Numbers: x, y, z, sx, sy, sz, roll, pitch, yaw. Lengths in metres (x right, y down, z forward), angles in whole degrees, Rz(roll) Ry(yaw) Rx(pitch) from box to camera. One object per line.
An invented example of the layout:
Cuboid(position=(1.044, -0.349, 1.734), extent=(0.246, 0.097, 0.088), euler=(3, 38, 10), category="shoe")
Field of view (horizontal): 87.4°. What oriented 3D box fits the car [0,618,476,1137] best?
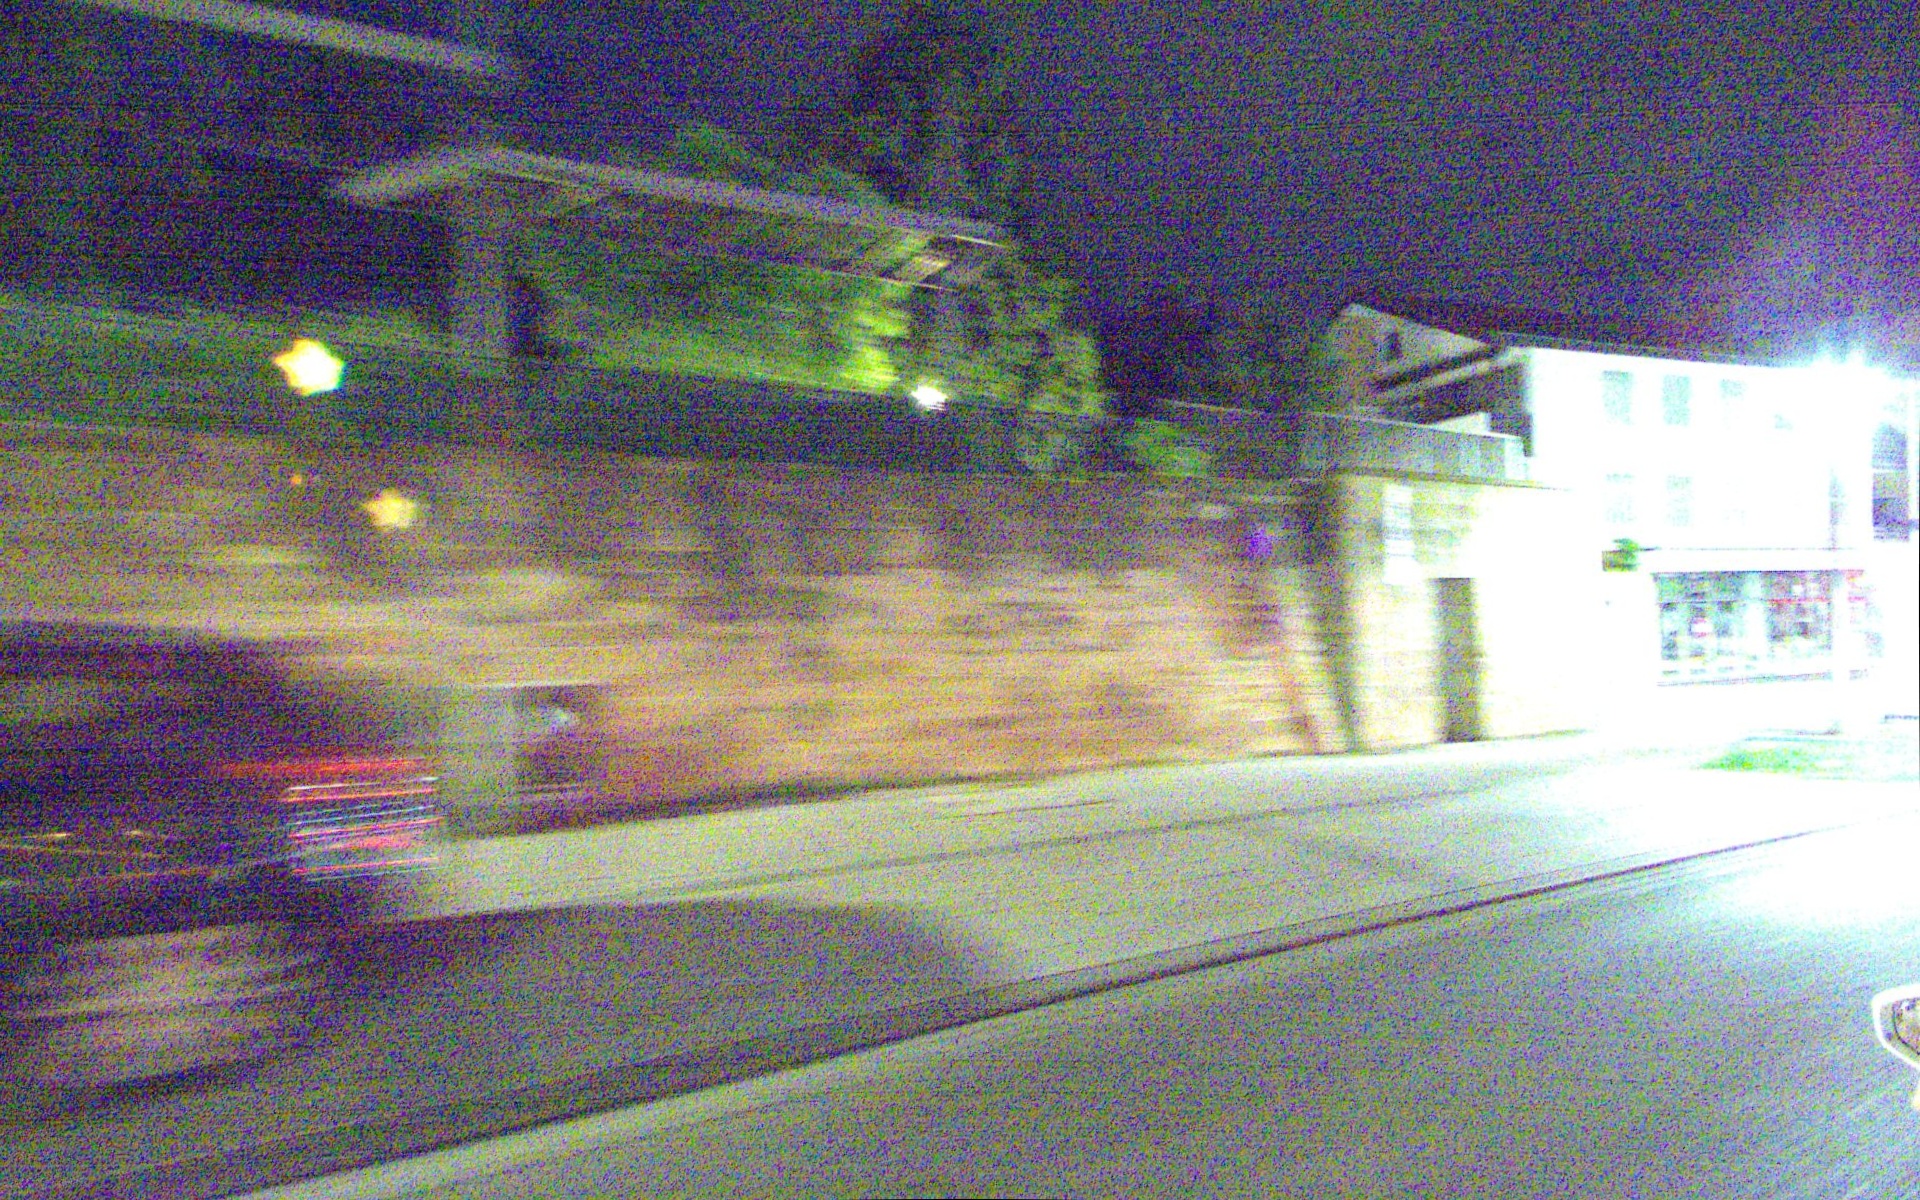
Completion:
Cuboid(position=(-3.882, 0.804, 3.229), extent=(4.079, 1.456, 1.683), euler=(1, 0, -30), category="car")
